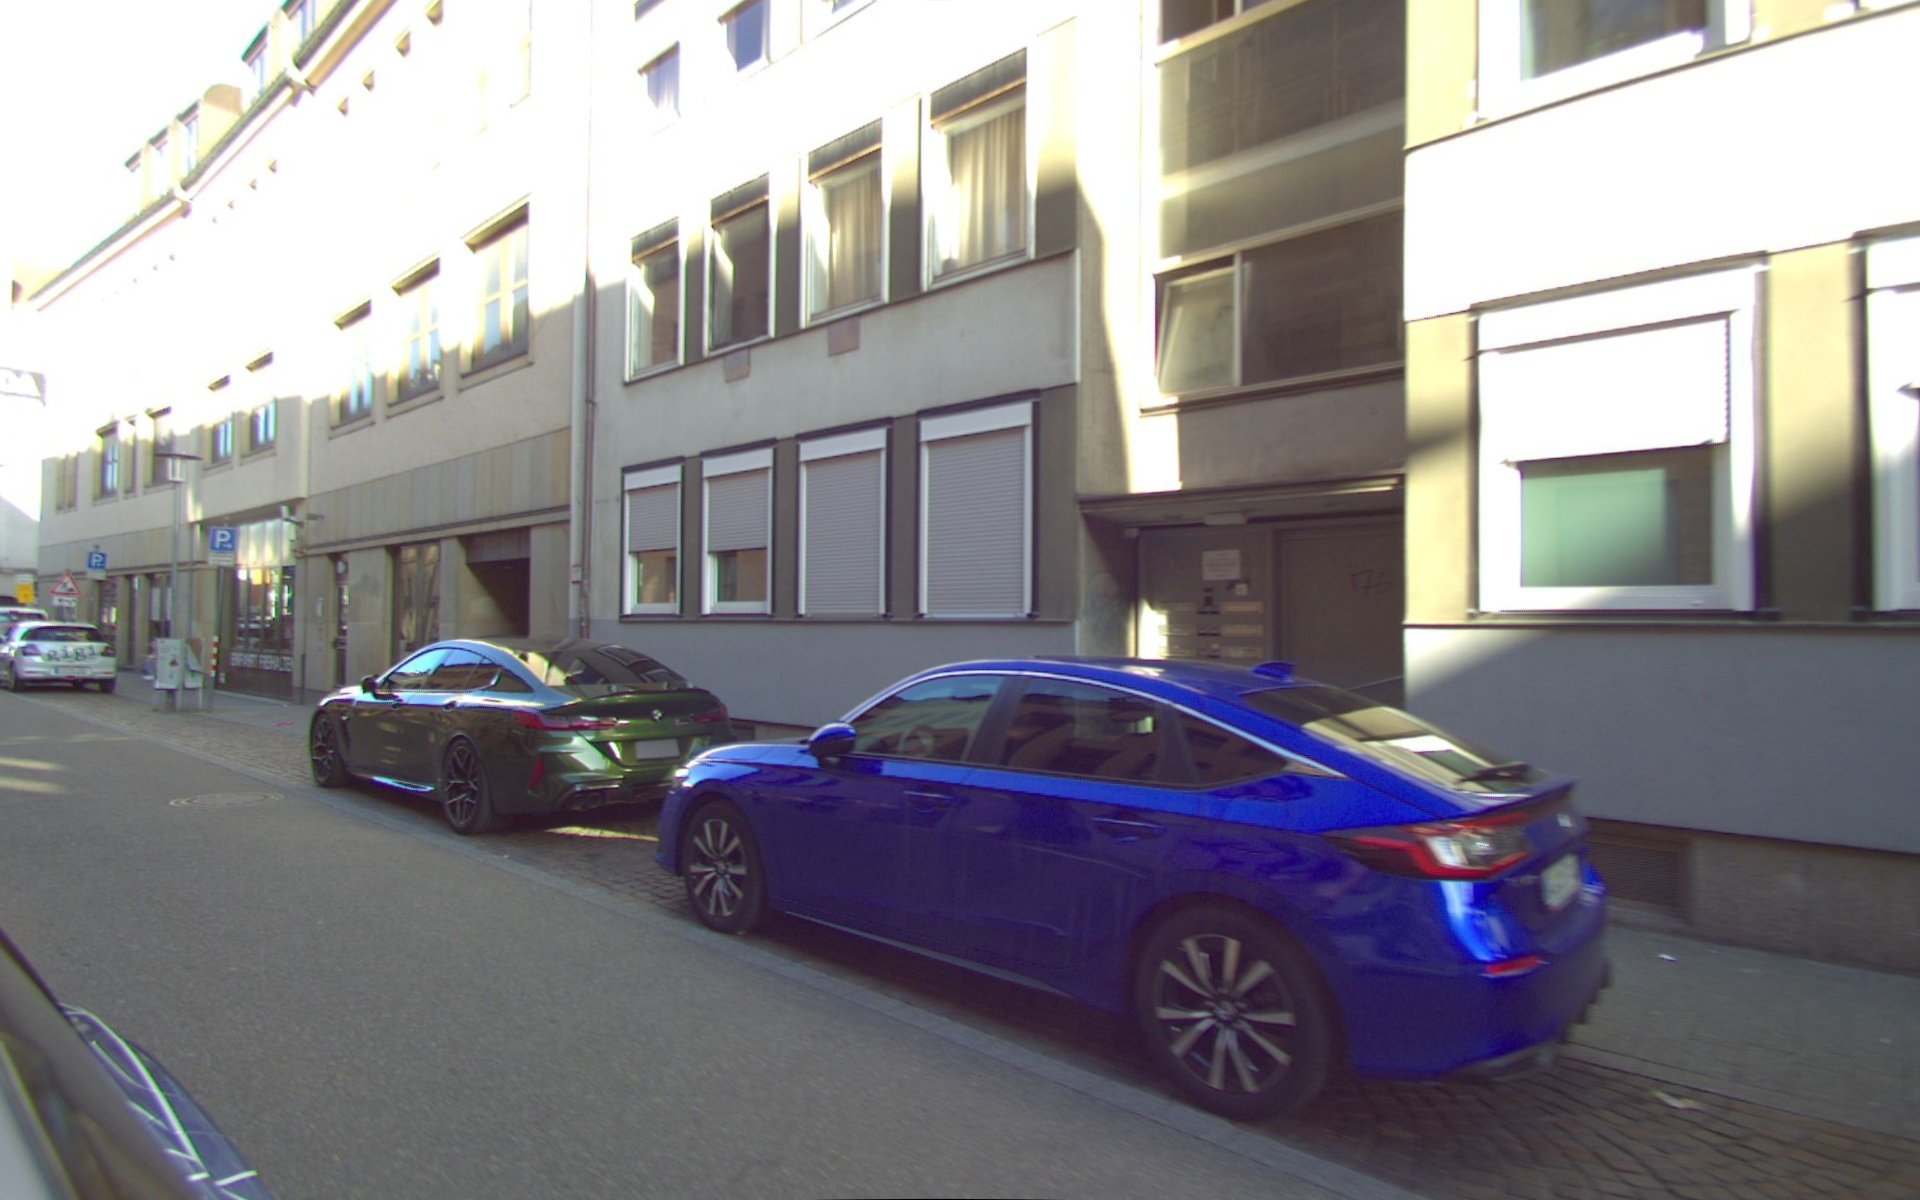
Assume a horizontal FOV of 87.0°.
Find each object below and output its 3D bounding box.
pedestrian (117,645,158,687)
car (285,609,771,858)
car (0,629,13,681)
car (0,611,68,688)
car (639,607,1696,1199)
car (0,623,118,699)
[{"bbox_3d":[-21.051,1.690,25.914,0.616,1.043,0.649,-1,-2,34],"label":"pedestrian"},{"bbox_3d":[-3.856,0.975,8.582,4.727,1.542,1.870,-2,-7,42],"label":"car"},{"bbox_3d":[-29.735,1.583,29.891,3.790,1.504,1.722,-1,-4,34],"label":"car"},{"bbox_3d":[-25.000,1.263,26.234,4.727,1.872,1.881,-1,-4,38],"label":"car"},{"bbox_3d":[0.547,0.862,4.586,4.338,1.542,1.870,-1,-3,42],"label":"car"},{"bbox_3d":[-20.191,1.328,22.307,3.770,1.534,1.654,-1,-5,38],"label":"car"}]
